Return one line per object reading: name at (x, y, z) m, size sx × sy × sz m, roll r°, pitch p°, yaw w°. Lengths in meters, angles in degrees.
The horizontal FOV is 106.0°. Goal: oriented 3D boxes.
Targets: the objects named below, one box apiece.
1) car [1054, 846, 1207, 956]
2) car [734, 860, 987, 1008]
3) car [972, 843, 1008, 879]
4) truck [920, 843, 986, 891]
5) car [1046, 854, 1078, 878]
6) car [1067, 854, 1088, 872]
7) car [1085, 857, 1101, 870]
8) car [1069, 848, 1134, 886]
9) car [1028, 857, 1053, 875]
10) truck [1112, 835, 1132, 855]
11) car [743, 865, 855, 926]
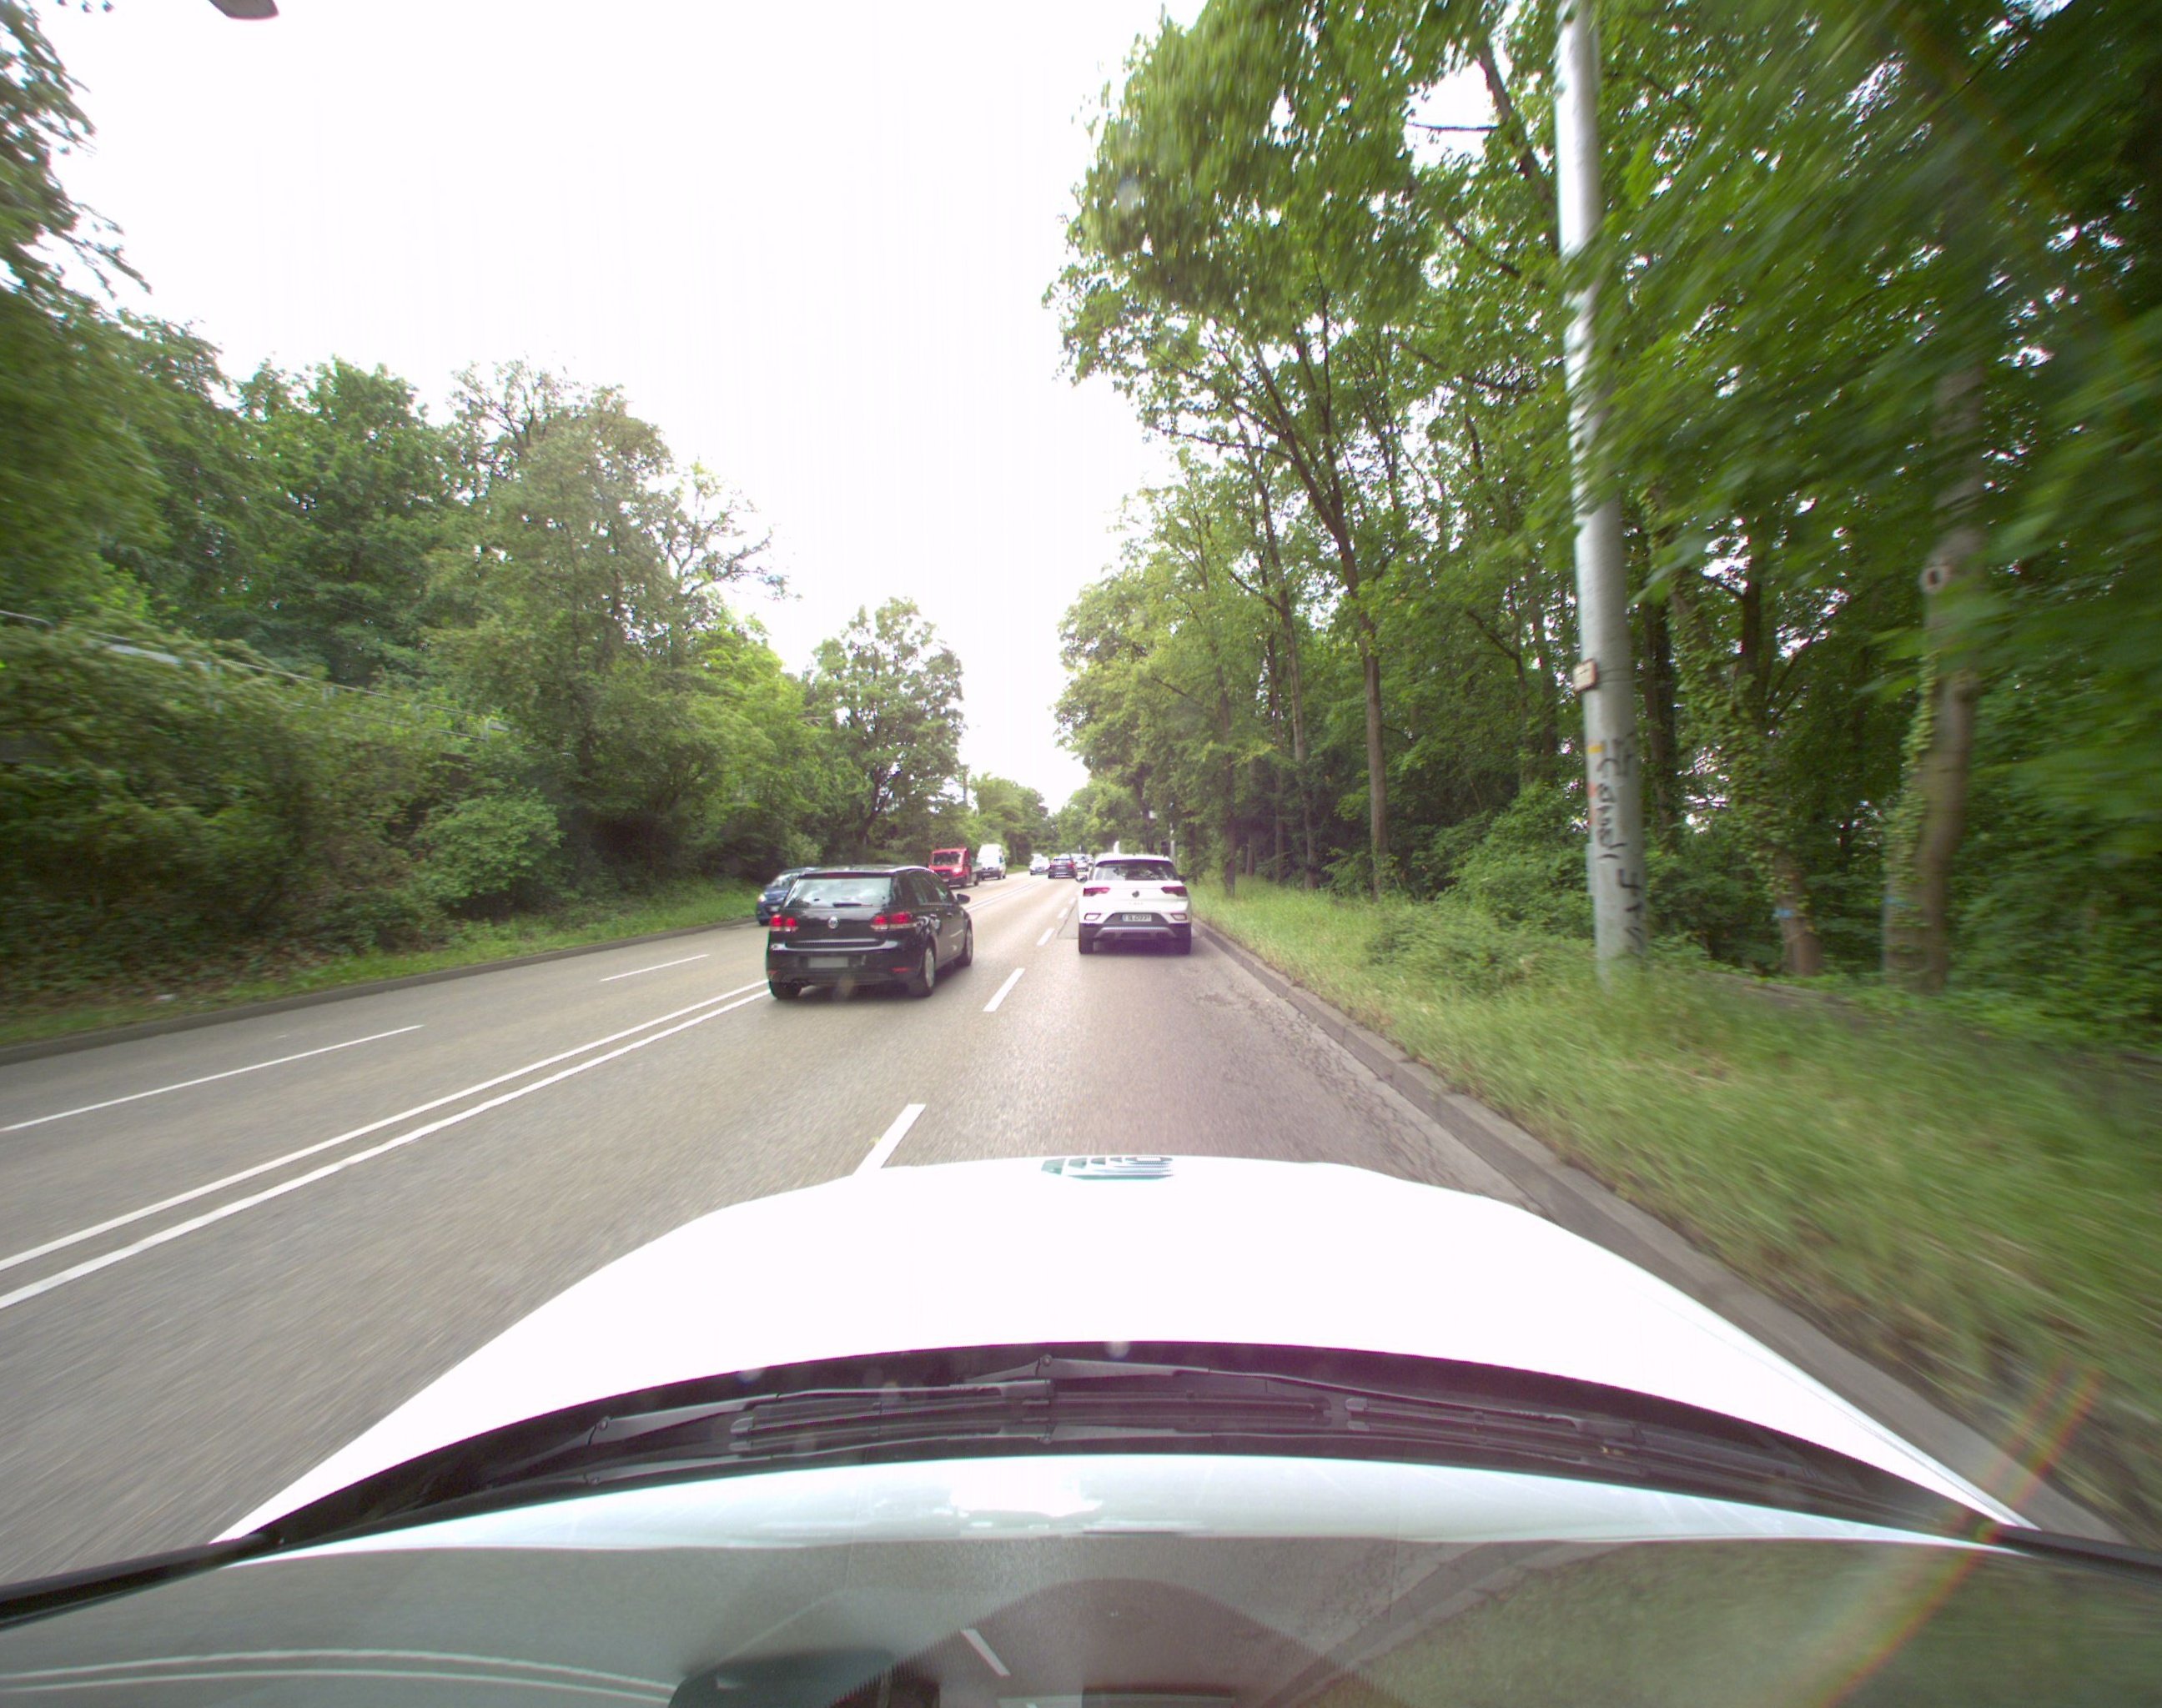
car at (0.681, 0.709, 14.001) m, size 1.998 × 1.596 × 3.991 m, roll 0°, pitch -1°, yaw -6°
car at (-2.446, 0.816, 10.168) m, size 1.942 × 1.466 × 4.001 m, roll 0°, pitch -1°, yaw 2°
car at (-6.747, 0.514, 60.912) m, size 1.880 × 2.556 × 4.917 m, roll 1°, pitch 0°, yaw 2°
truck at (-7.101, 0.707, 45.940) m, size 2.168 × 2.411 × 6.470 m, roll -4°, pitch -1°, yaw 3°
car at (-1.258, 0.824, 55.792) m, size 1.986 × 1.592 × 4.001 m, roll 0°, pitch -1°, yaw 2°
car at (-0.293, 0.873, 77.416) m, size 1.815 × 1.623 × 4.001 m, roll 0°, pitch -1°, yaw 2°
car at (1.581, 1.181, 105.016) m, size 1.987 × 1.626 × 3.999 m, roll 0°, pitch -1°, yaw 0°
car at (0.970, 0.618, 40.920) m, size 1.858 × 1.702 × 3.973 m, roll -4°, pitch 1°, yaw -20°
car at (-3.497, 1.021, 71.005) m, size 1.832 × 1.465 × 4.467 m, roll 0°, pitch 0°, yaw 2°
truck at (6.832, -1.411, 135.758) m, size 2.477 × 3.182 × 7.219 m, roll 0°, pitch -1°, yaw -3°
car at (-7.822, 1.096, 23.009) m, size 1.664 × 1.486 × 4.000 m, roll -3°, pitch -1°, yaw 1°
